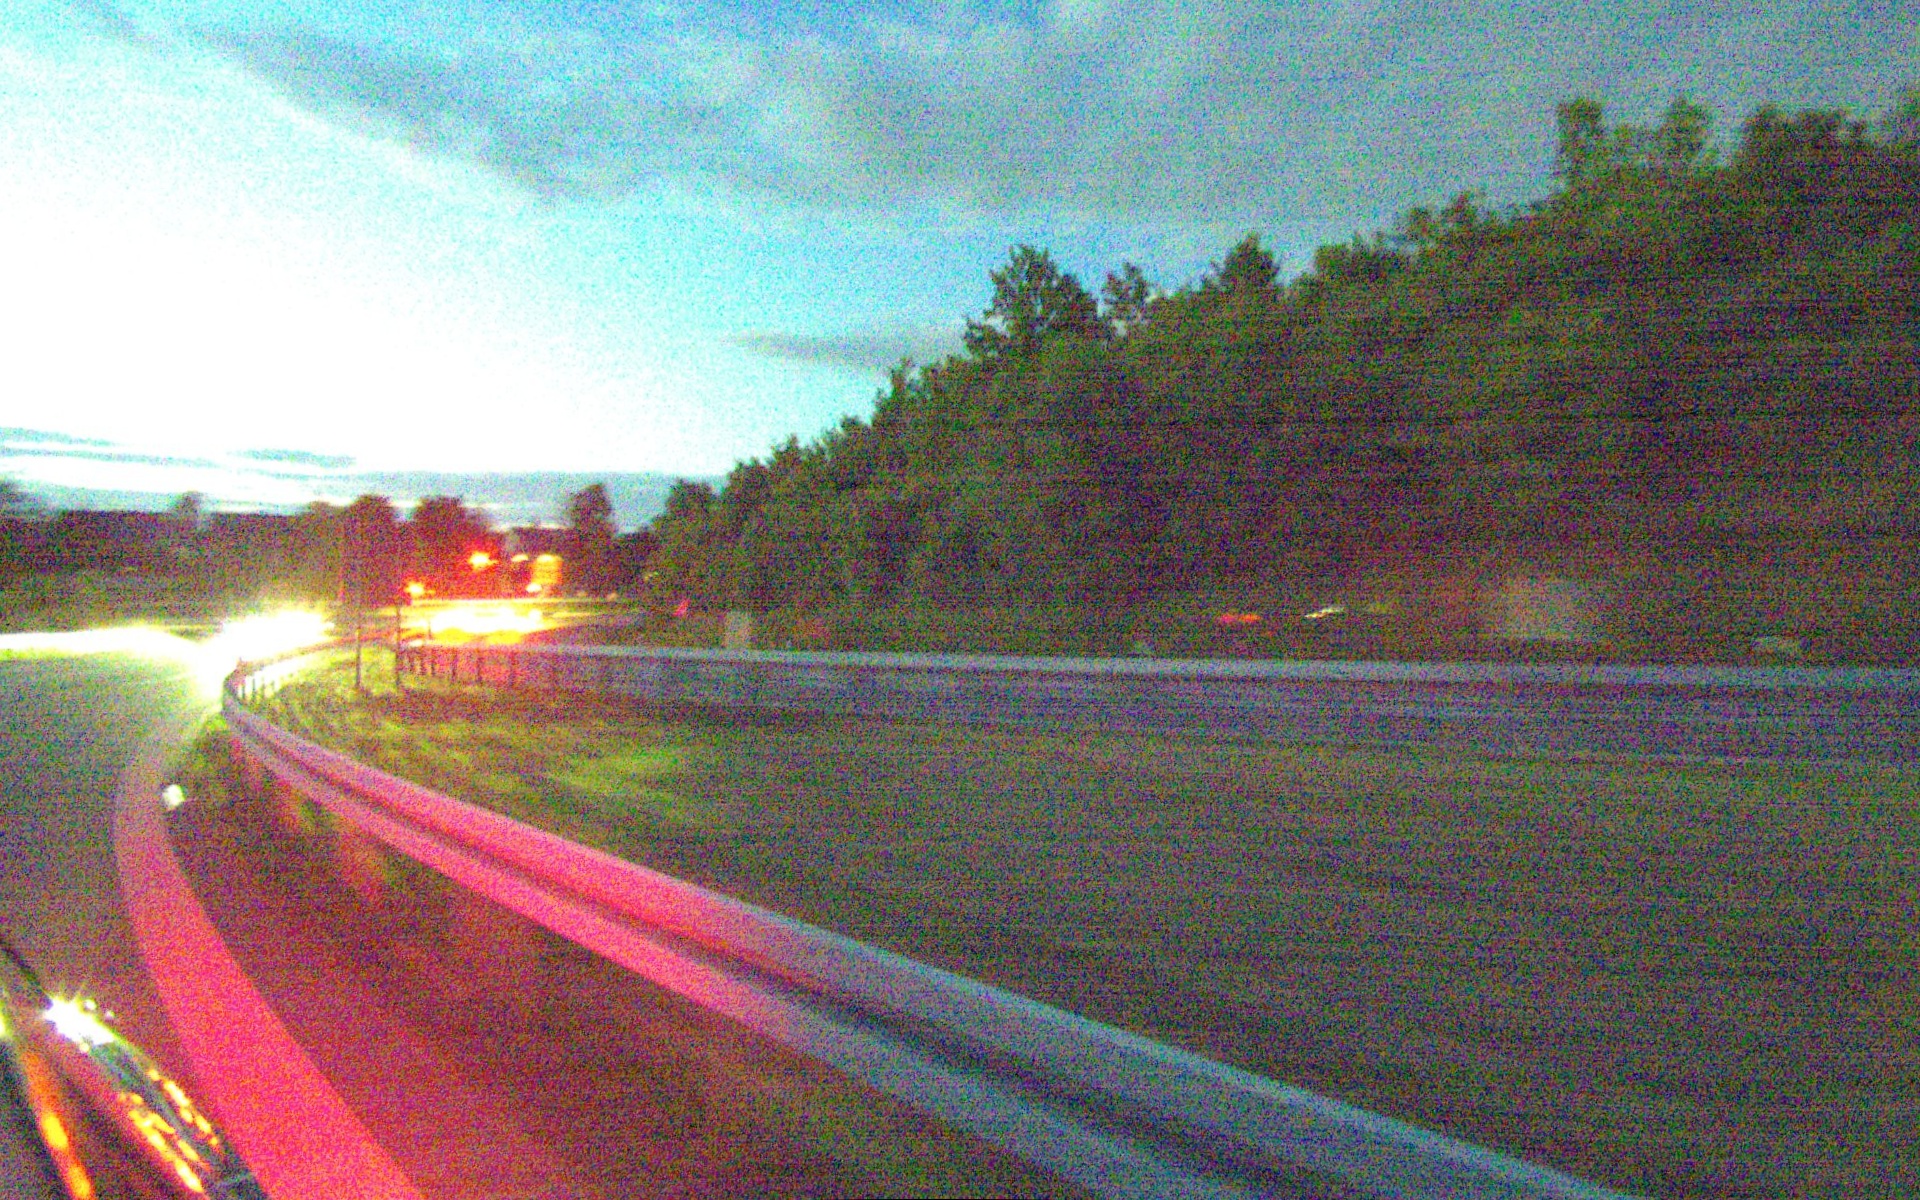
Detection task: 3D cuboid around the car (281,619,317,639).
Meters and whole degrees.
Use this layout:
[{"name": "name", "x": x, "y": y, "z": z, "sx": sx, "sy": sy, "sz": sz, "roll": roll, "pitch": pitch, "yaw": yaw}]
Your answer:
[{"name": "car", "x": -51.540, "y": 2.219, "z": 78.959, "sx": 1.629, "sy": 1.461, "sz": 3.501, "roll": 0, "pitch": 0, "yaw": -21}]

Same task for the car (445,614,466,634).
[{"name": "car", "x": -45.753, "y": 2.170, "z": 91.752, "sx": 1.675, "sy": 1.485, "sz": 3.883, "roll": -1, "pitch": 3, "yaw": -27}]

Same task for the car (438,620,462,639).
[{"name": "car", "x": -42.568, "y": 2.418, "z": 84.467, "sx": 1.686, "sy": 1.455, "sz": 3.998, "roll": 0, "pitch": 0, "yaw": -26}]

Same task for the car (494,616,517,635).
[{"name": "car", "x": -40.904, "y": 2.292, "z": 91.085, "sx": 1.729, "sy": 1.471, "sz": 4.014, "roll": -1, "pitch": 2, "yaw": -26}]

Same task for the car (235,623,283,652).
[{"name": "car", "x": -40.079, "y": 2.107, "z": 57.926, "sx": 1.733, "sy": 1.470, "sz": 4.206, "roll": 0, "pitch": 0, "yaw": -27}]

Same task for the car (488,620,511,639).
[{"name": "car", "x": -38.666, "y": 2.441, "z": 84.917, "sx": 1.660, "sy": 1.470, "sz": 3.825, "roll": 1, "pitch": 0, "yaw": -26}]
